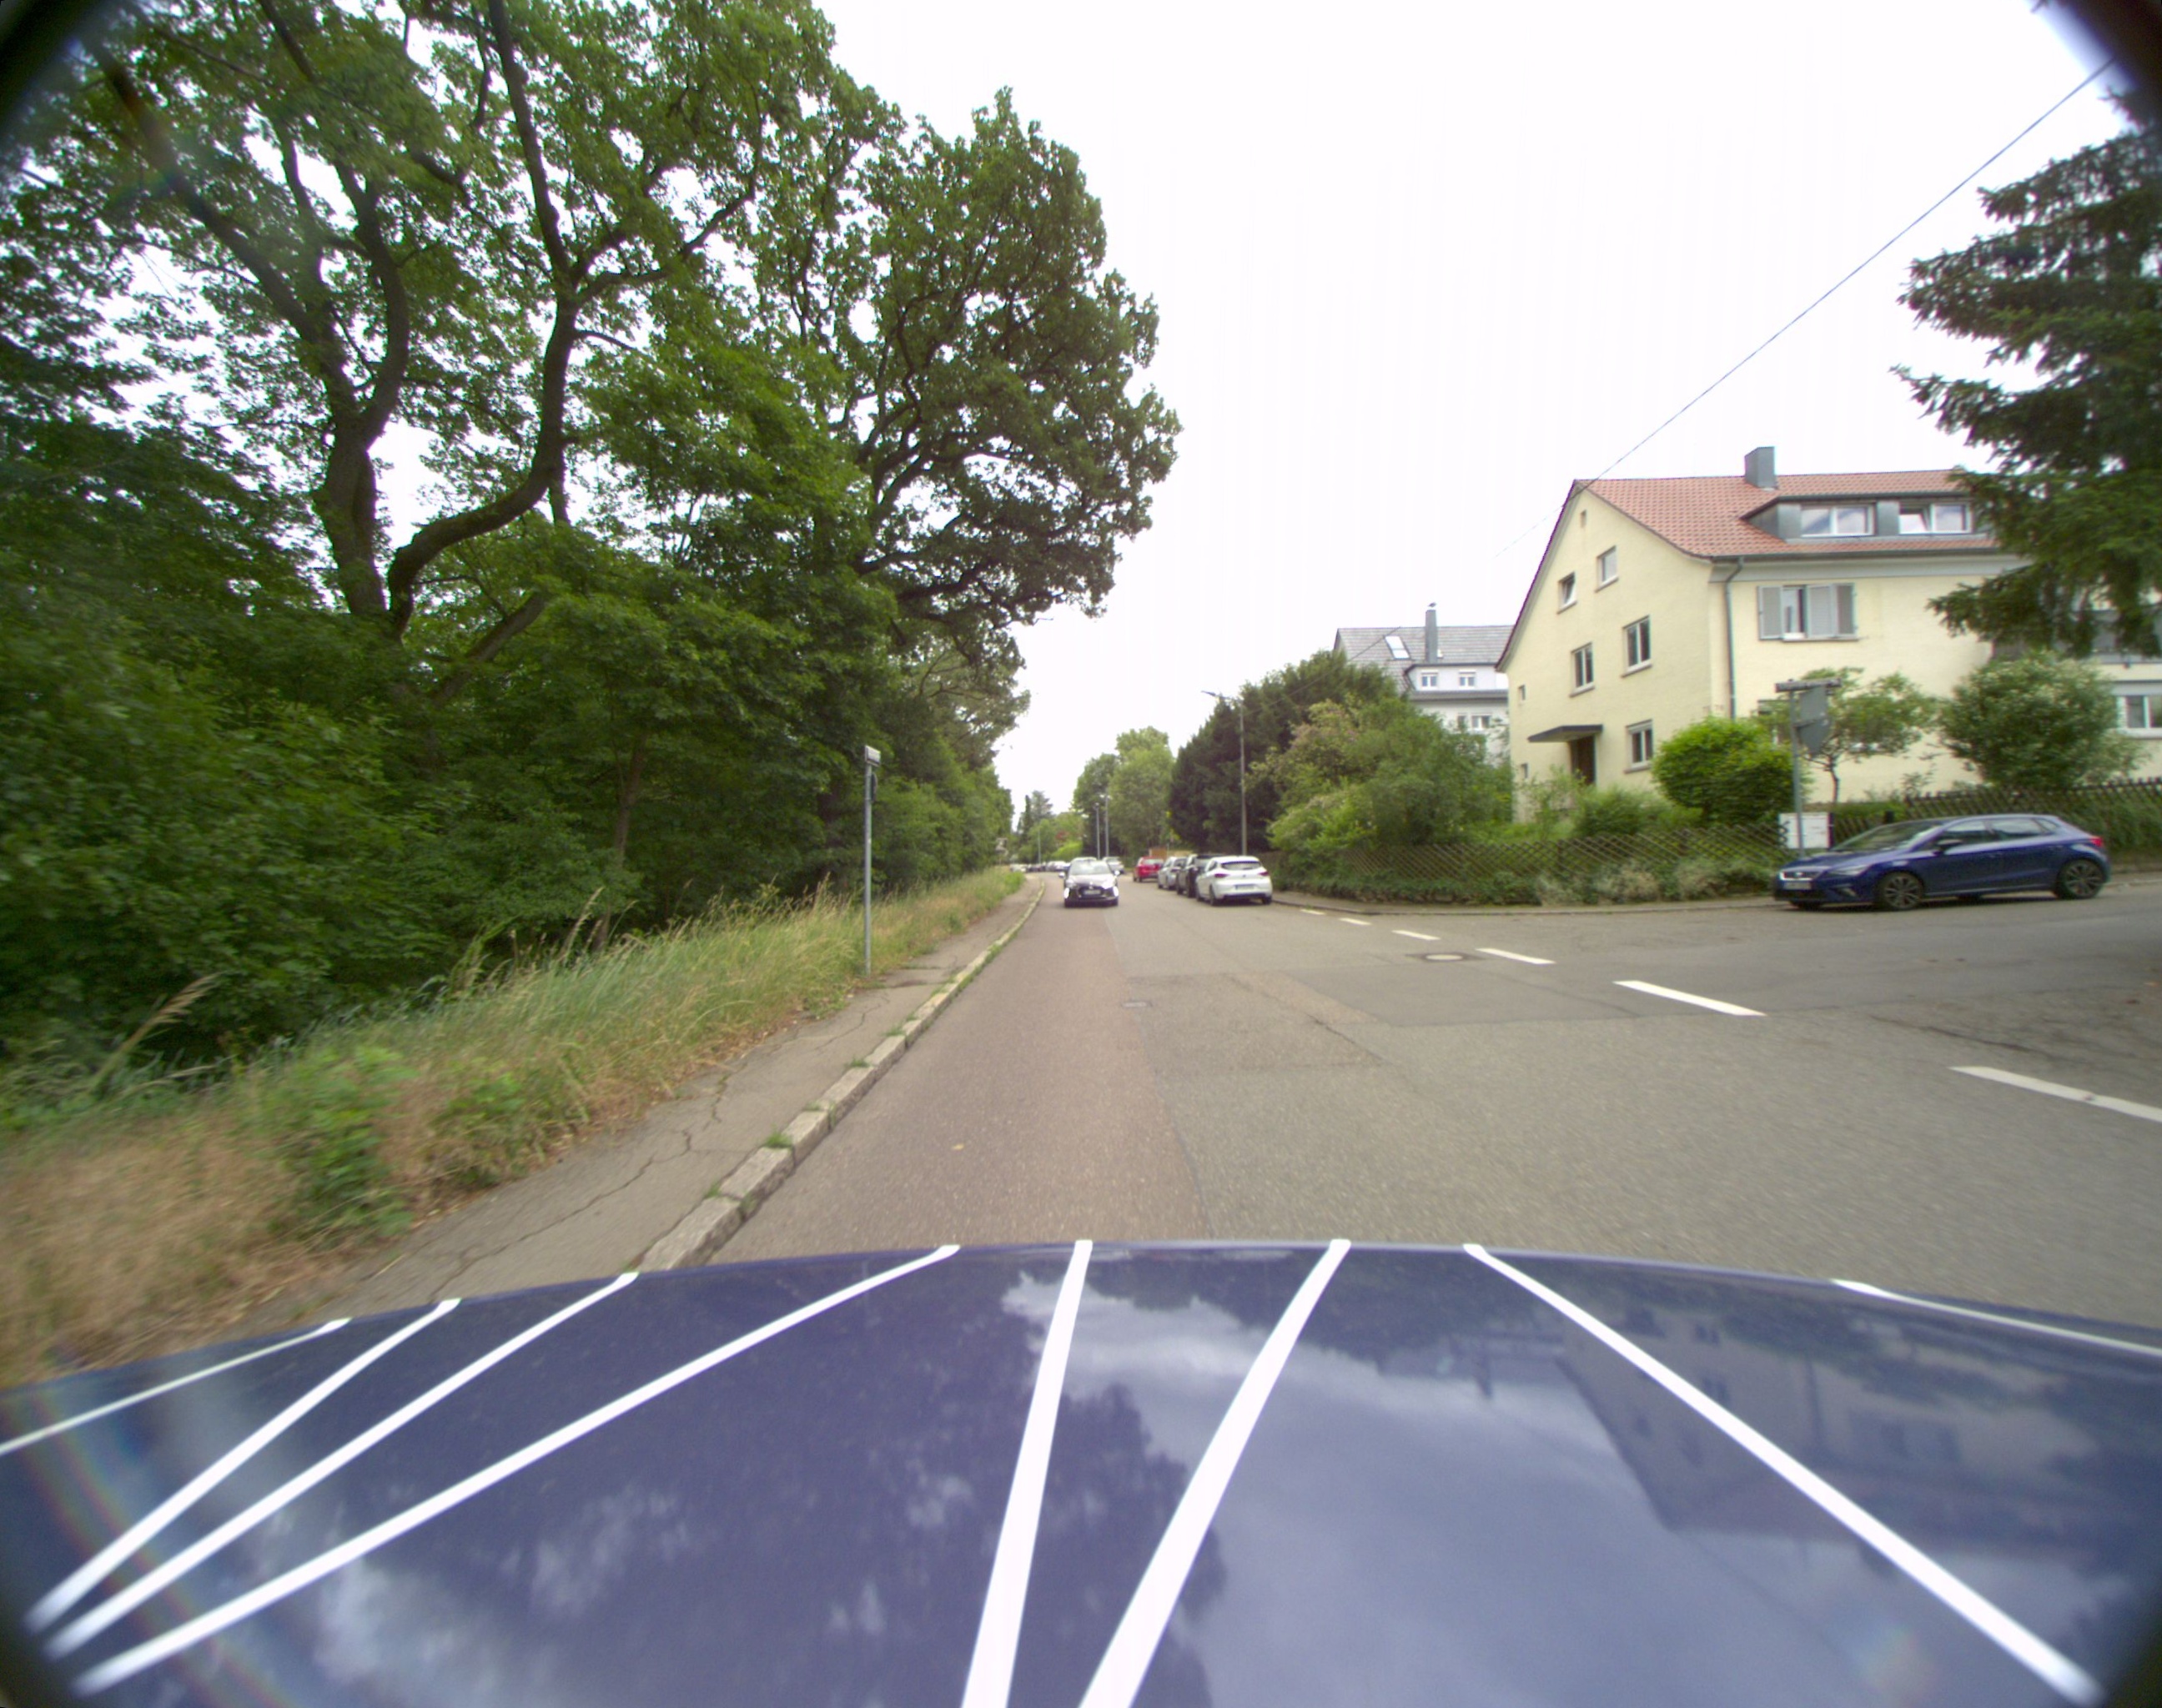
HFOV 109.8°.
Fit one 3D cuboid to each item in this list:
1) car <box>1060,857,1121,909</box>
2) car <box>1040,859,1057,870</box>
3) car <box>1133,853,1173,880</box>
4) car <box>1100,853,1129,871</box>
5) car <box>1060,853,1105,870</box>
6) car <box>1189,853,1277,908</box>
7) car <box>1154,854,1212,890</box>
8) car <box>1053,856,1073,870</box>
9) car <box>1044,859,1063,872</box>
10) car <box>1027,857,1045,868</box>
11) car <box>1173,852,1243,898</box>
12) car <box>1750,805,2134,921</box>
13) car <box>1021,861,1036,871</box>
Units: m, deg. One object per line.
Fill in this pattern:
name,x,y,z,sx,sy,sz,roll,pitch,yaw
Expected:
car,0.259,0.903,25.189,1.788,1.491,4.014,-2,0,-1
car,-4.940,1.589,115.597,2.000,1.678,4.706,-2,0,-10
car,4.103,0.709,43.826,1.741,1.431,3.786,-2,0,-2
car,2.746,0.651,63.088,1.765,1.441,4.041,-2,0,-6
car,0.224,0.811,82.476,4.719,1.678,1.995,-2,0,-41
car,4.555,0.739,23.314,1.788,1.491,4.014,-2,0,-1
car,4.417,0.746,33.445,1.788,1.431,4.323,-2,0,-2
car,-2.458,1.204,101.735,2.000,1.678,4.706,-2,0,-10
car,-3.971,1.649,109.726,2.000,1.678,4.706,-2,0,-10
car,-7.531,1.446,127.018,2.001,1.678,4.704,-2,0,-17
car,4.537,0.705,27.765,1.788,1.491,4.014,-2,0,-1
car,13.785,0.158,12.395,3.996,1.474,1.722,-4,-1,5
car,-9.401,2.048,134.878,1.801,1.678,3.495,-2,0,-18
